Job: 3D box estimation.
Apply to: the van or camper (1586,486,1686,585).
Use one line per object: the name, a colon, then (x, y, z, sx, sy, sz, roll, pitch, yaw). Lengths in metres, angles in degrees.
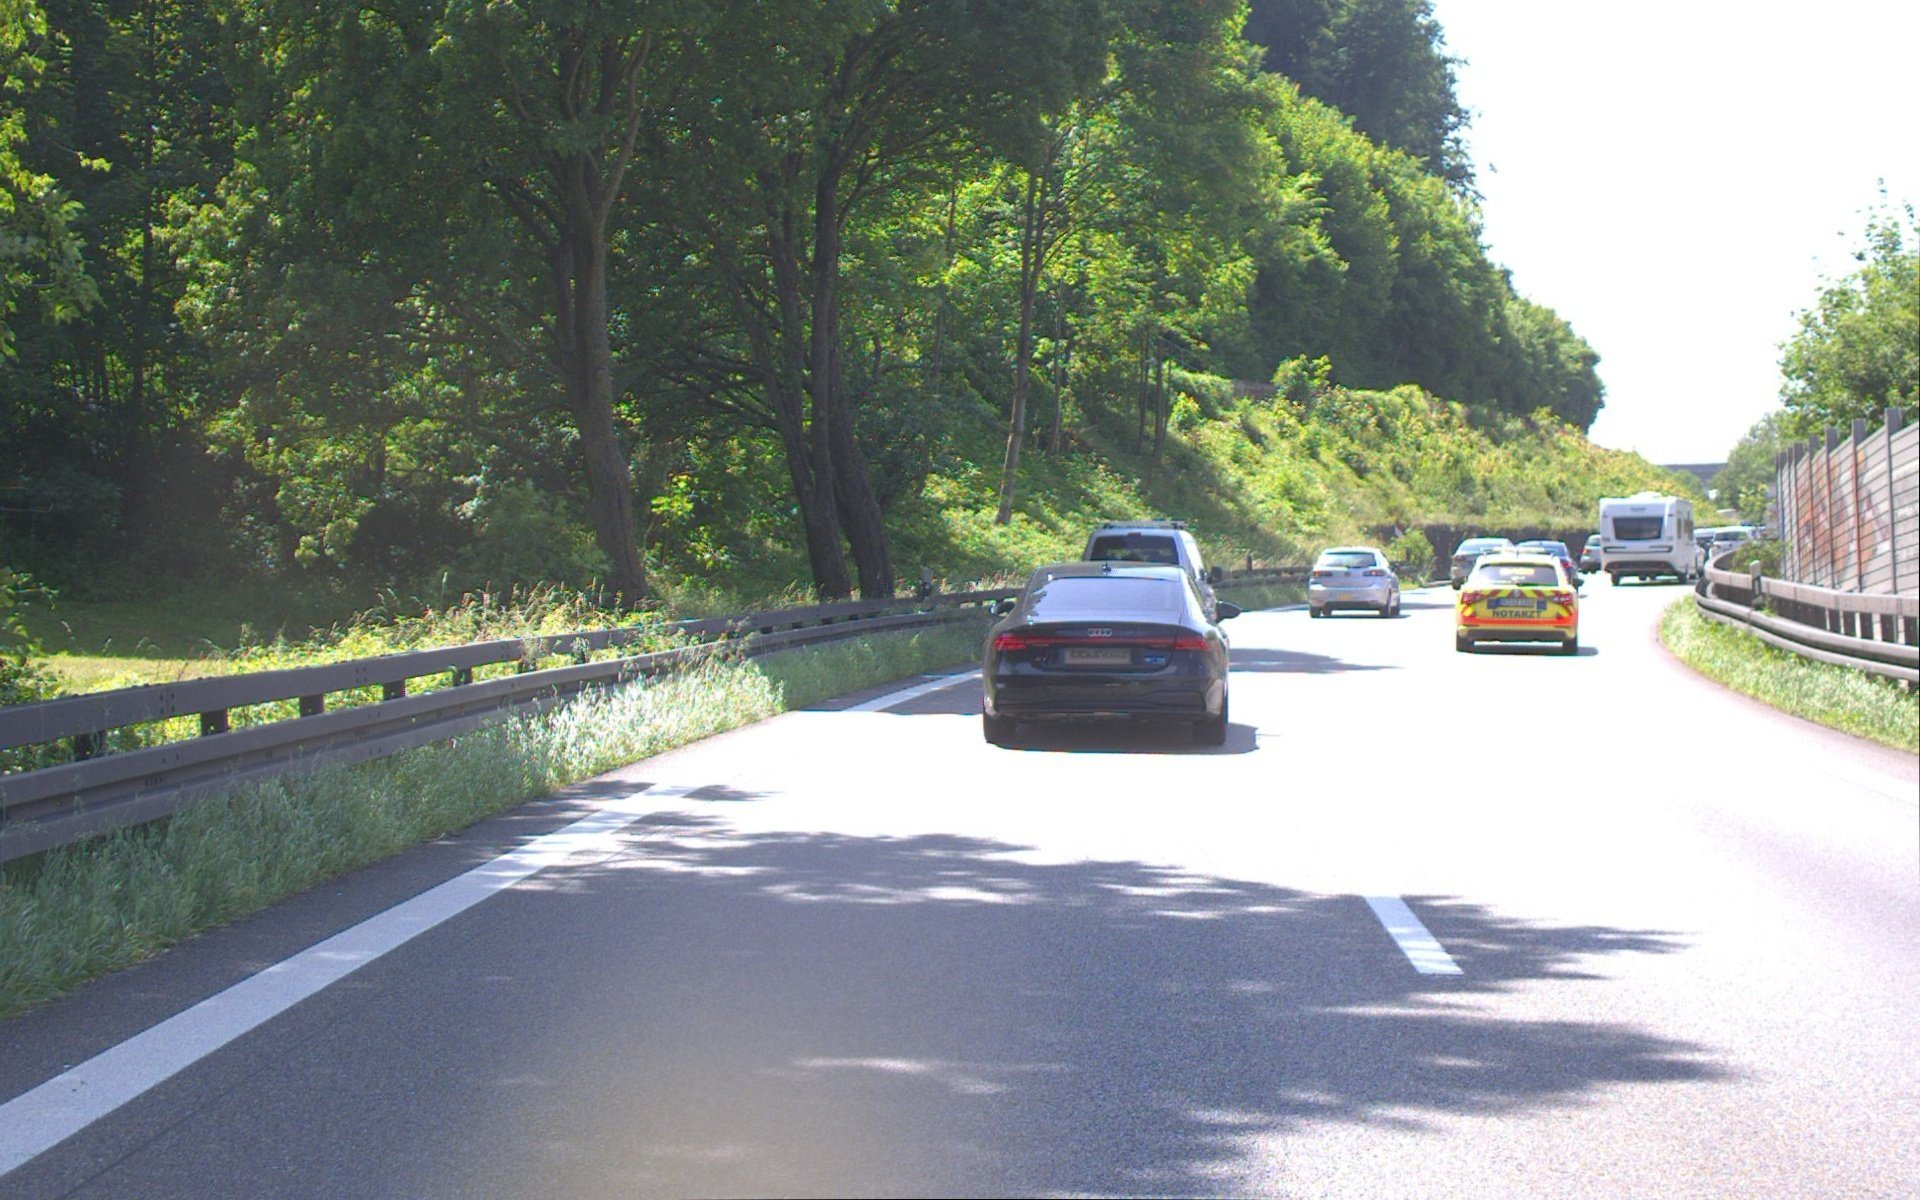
van or camper: (20.706, -1.930, 105.099, 2.457, 2.908, 6.121, 0, 0, 16)

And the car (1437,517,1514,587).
car: (15.244, -1.428, 101.521, 1.994, 2.007, 3.998, -1, 1, 12)

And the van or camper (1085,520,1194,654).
van or camper: (2.486, -0.180, 48.238, 1.391, 1.809, 4.000, 0, 0, 1)

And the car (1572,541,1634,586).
car: (24.661, -1.378, 131.841, 1.843, 1.711, 3.996, 0, 0, 18)

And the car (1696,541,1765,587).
car: (29.758, -1.404, 132.675, 1.996, 1.711, 3.996, 0, 1, 22)

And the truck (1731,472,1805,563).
truck: (37.663, -3.820, 160.076, 2.735, 4.082, 7.473, -1, 1, 18)

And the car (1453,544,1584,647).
car: (8.439, -0.064, 51.738, 1.863, 1.483, 3.998, 0, 0, 10)

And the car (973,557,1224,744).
car: (1.073, 0.381, 27.618, 1.838, 1.345, 4.000, 1, 0, 1)

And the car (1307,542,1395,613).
car: (8.026, -0.453, 70.811, 1.747, 1.426, 3.999, 0, 0, 6)

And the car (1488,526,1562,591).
car: (14.733, -1.100, 89.836, 1.774, 1.631, 3.999, -1, 1, 8)
